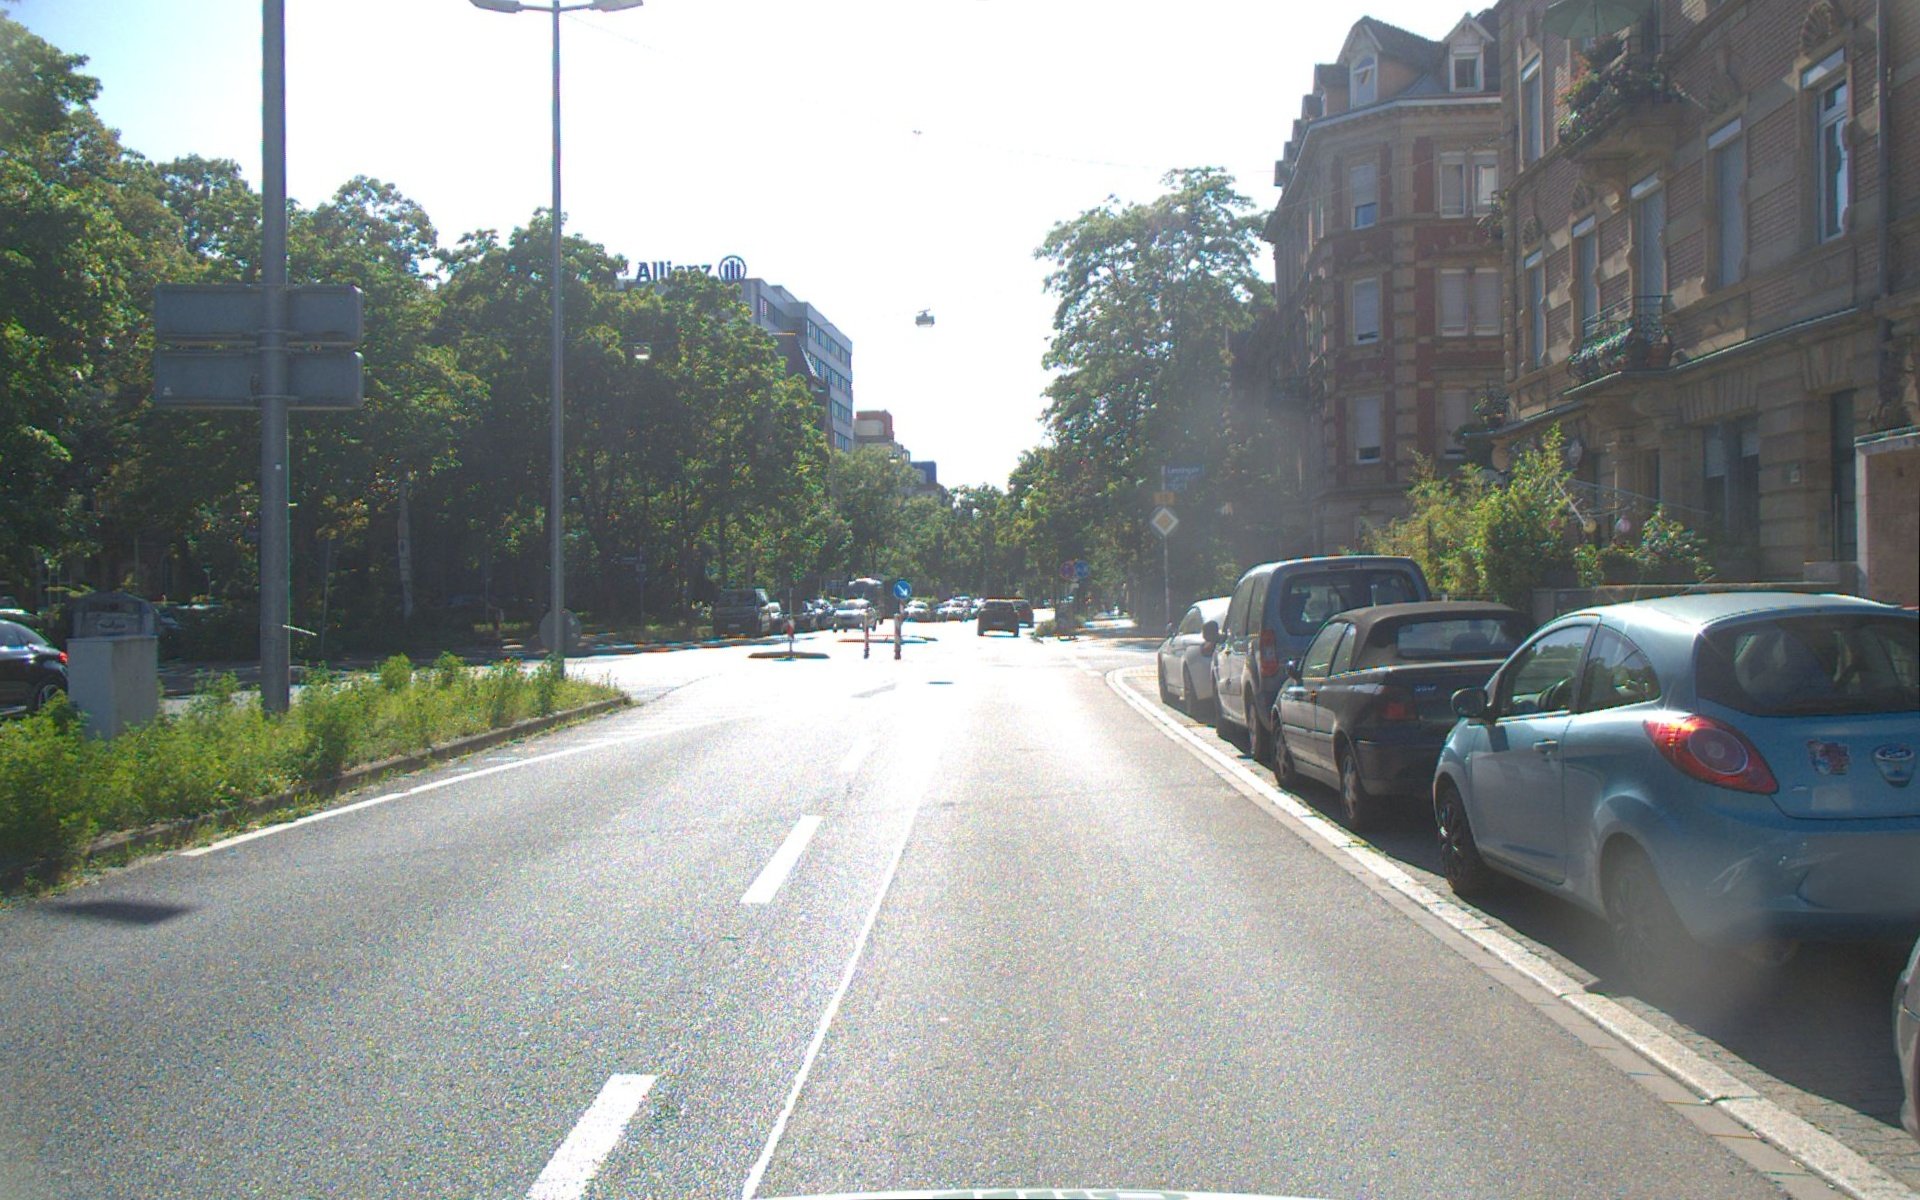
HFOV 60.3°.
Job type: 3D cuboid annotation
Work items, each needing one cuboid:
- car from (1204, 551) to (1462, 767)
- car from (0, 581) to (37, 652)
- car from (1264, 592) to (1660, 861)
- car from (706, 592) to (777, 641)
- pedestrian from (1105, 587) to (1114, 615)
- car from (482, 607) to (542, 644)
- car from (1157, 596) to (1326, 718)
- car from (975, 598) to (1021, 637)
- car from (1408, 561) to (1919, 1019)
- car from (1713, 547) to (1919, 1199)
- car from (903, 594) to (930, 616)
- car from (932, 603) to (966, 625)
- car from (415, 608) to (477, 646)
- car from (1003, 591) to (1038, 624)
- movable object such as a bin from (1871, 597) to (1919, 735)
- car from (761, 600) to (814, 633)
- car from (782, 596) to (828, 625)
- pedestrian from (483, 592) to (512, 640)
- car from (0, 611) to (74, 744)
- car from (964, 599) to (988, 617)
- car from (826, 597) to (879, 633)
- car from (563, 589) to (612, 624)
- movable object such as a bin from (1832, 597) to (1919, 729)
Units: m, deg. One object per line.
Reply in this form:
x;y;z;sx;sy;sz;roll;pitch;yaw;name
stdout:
3.604;0.499;16.762;1.781;1.876;4.366;-1;1;2;car
-33.573;0.515;55.892;1.807;2.365;4.984;1;-3;1;car
3.254;0.717;11.583;1.633;1.493;4.276;-1;1;2;car
-9.206;0.661;70.091;2.153;1.963;4.864;-1;0;3;car
11.075;0.099;122.434;0.602;2.049;0.681;-1;0;1;pedestrian
-21.896;1.229;80.788;1.954;1.691;3.961;-1;1;-29;car
3.628;0.678;21.938;1.674;1.450;4.207;0;0;2;car
1.638;0.731;70.657;1.855;1.545;4.001;1;0;2;car
3.307;0.631;7.418;1.589;1.496;3.298;-4;1;-1;car
3.098;0.649;2.395;1.895;1.545;4.483;-1;1;-1;car
-3.256;0.365;124.038;1.764;1.530;3.809;-1;0;2;car
-0.720;0.942;113.832;1.746;1.486;4.418;0;-1;8;car
-24.608;1.262;79.108;1.955;1.691;3.959;-1;1;-31;car
3.381;0.382;91.848;1.781;1.770;4.002;0;0;5;car
8.461;0.577;14.365;0.743;1.177;0.608;0;-3;2;movable object such as a bin
-8.449;0.776;81.295;1.721;1.545;3.862;-1;0;8;car
-7.913;0.531;84.889;1.491;1.457;3.557;-1;0;9;car
-16.149;0.567;57.705;0.656;1.655;0.713;0;0;34;pedestrian
-12.194;0.925;18.954;1.759;1.545;4.423;0;0;-1;car
1.411;0.722;145.252;1.603;1.545;4.034;-1;0;8;car
-5.014;0.679;77.745;1.721;1.545;3.863;-2;1;8;car
-18.955;0.308;84.045;1.946;1.691;3.977;-1;0;-20;car
8.514;0.579;15.167;0.707;1.177;0.608;0;-3;2;movable object such as a bin
